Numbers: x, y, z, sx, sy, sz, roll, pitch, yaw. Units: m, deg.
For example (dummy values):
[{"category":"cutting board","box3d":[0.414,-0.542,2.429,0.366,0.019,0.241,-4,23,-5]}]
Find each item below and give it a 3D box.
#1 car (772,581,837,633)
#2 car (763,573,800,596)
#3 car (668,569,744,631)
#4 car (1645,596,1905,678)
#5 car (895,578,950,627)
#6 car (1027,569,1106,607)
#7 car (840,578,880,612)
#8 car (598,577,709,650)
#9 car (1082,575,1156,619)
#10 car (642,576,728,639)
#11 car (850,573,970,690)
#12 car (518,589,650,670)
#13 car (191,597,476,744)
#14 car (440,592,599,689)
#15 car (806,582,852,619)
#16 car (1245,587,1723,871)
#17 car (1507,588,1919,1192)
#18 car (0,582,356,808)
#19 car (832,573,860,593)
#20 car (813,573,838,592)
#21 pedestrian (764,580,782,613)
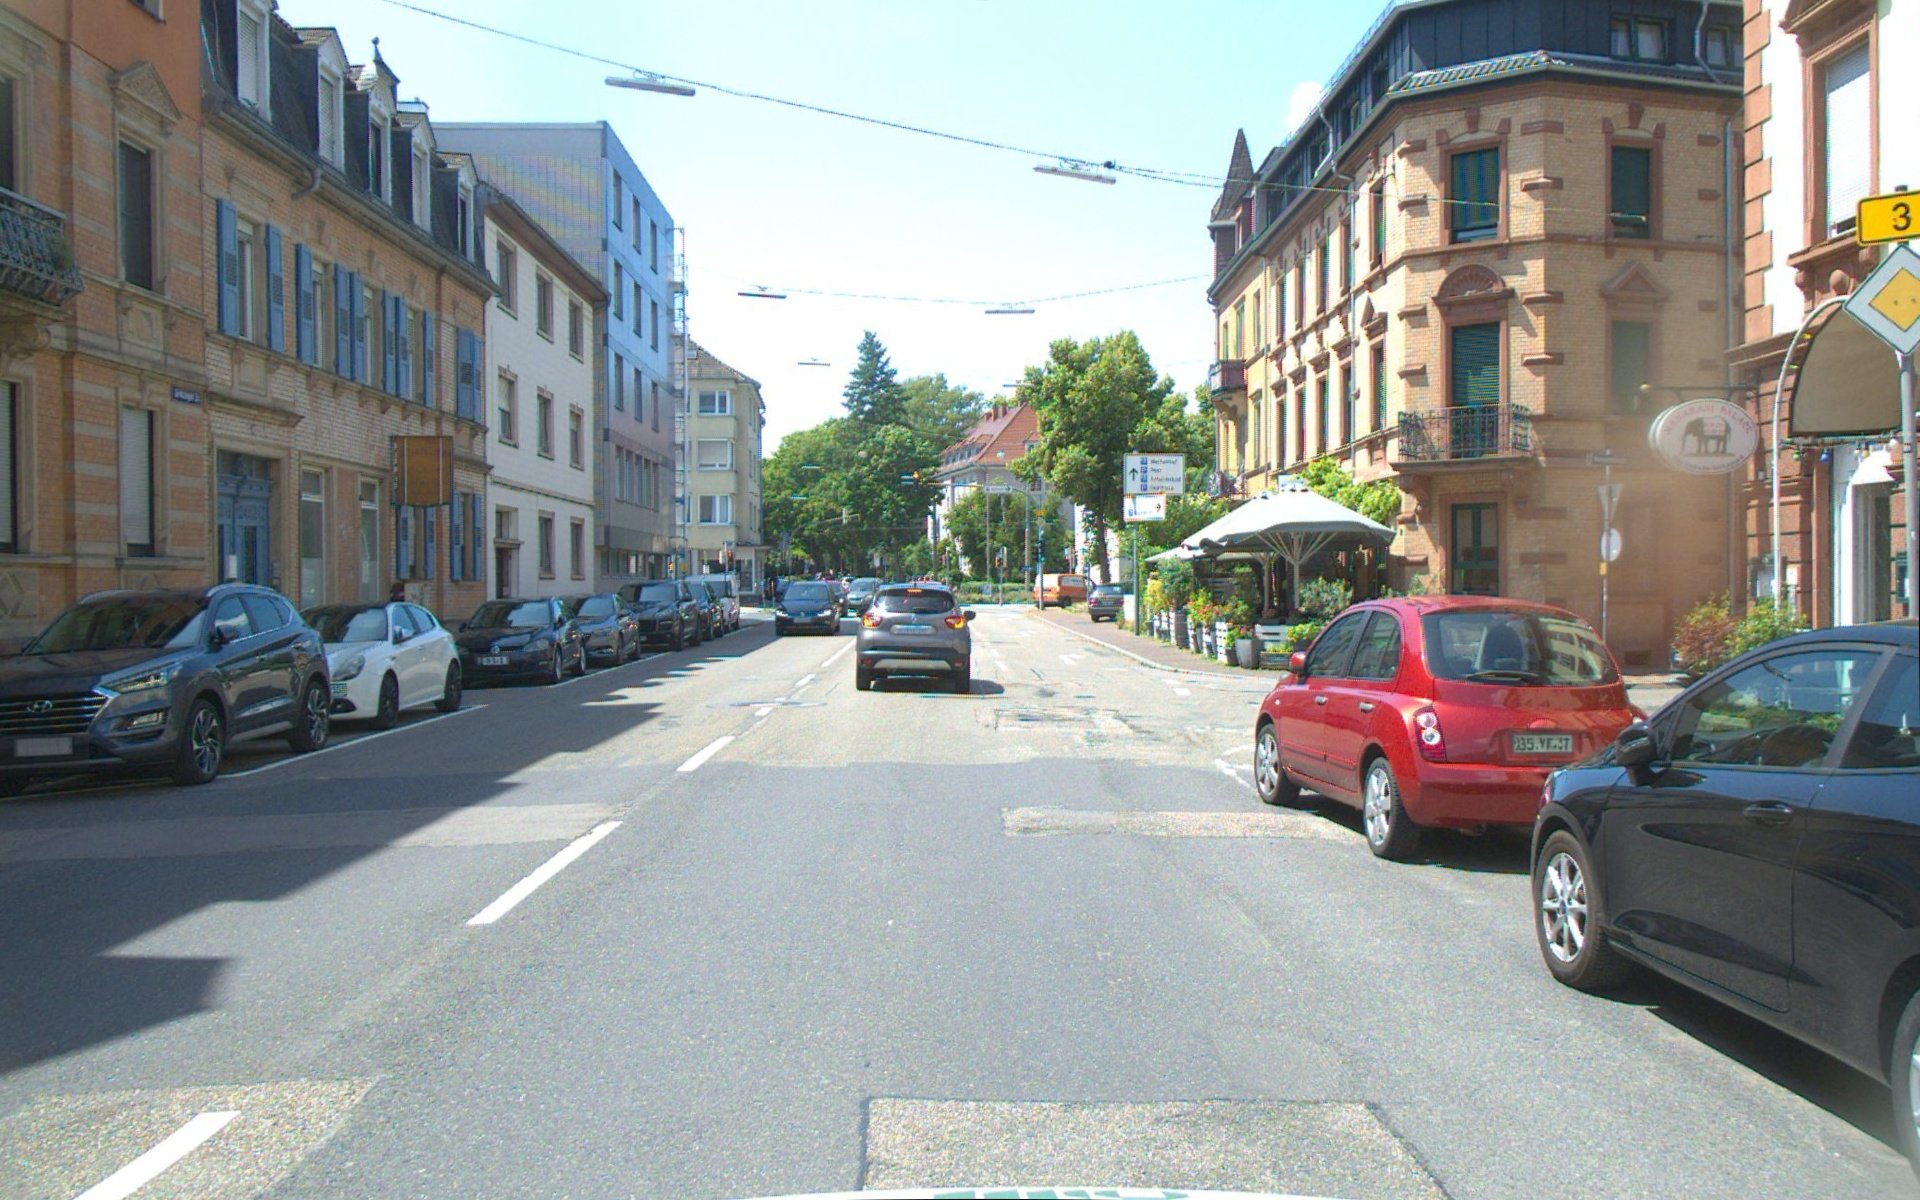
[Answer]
[{"category":"car","box3d":[-4.706,0.179,50.511,1.725,1.520,4.244,-1,1,-2]},{"category":"car","box3d":[-12.553,-1.049,116.091,1.960,1.545,3.984,1,0,-15]},{"category":"car","box3d":[-8.149,-0.022,53.428,1.875,1.857,4.786,-1,0,-3]},{"category":"car","box3d":[14.788,0.645,30.086,3.917,1.388,1.911,0,1,-12]},{"category":"car","box3d":[-1.242,0.059,56.411,1.762,1.585,4.037,1,1,0]},{"category":"car","box3d":[5.795,-0.638,89.869,1.964,2.011,4.476,0,1,41]},{"category":"car","box3d":[-4.797,-0.269,79.777,1.667,1.602,4.311,-1,1,-1]},{"category":"car","box3d":[-7.517,0.291,40.996,1.846,1.669,4.817,-1,0,-1]},{"category":"car","box3d":[6.382,-0.141,65.800,1.796,1.575,5.159,0,2,19]},{"category":"car","box3d":[-7.777,0.183,47.144,1.847,1.669,4.660,-1,0,-3]},{"category":"car","box3d":[-0.738,0.428,25.937,1.718,1.660,4.000,1,1,-1]},{"category":"car","box3d":[-7.674,0.559,34.185,1.828,1.431,4.834,-4,1,-4]},{"category":"car","box3d":[-7.413,0.761,20.071,1.827,1.451,4.329,-4,1,-2]},{"category":"car","box3d":[-7.535,0.634,28.694,1.828,1.431,4.327,-4,1,-5]},{"category":"car","box3d":[-5.536,-0.015,70.081,1.667,1.503,4.133,-1,1,-1]},{"category":"car","box3d":[3.223,0.705,11.001,1.723,1.504,3.781,2,0,-4]},{"category":"car","box3d":[3.275,0.744,5.270,1.721,1.504,3.931,2,0,0]},{"category":"car","box3d":[-7.155,0.731,14.930,1.828,1.656,4.498,-4,0,-3]},{"category":"car","box3d":[-10.782,-1.655,156.530,1.960,1.839,3.986,1,1,-14]},{"category":"car","box3d":[-13.775,-1.806,169.628,1.960,1.939,3.986,1,1,-14]},{"category":"pedestrian","box3d":[-11.088,-0.206,98.083,0.919,1.965,0.974,0,0,-13]}]
